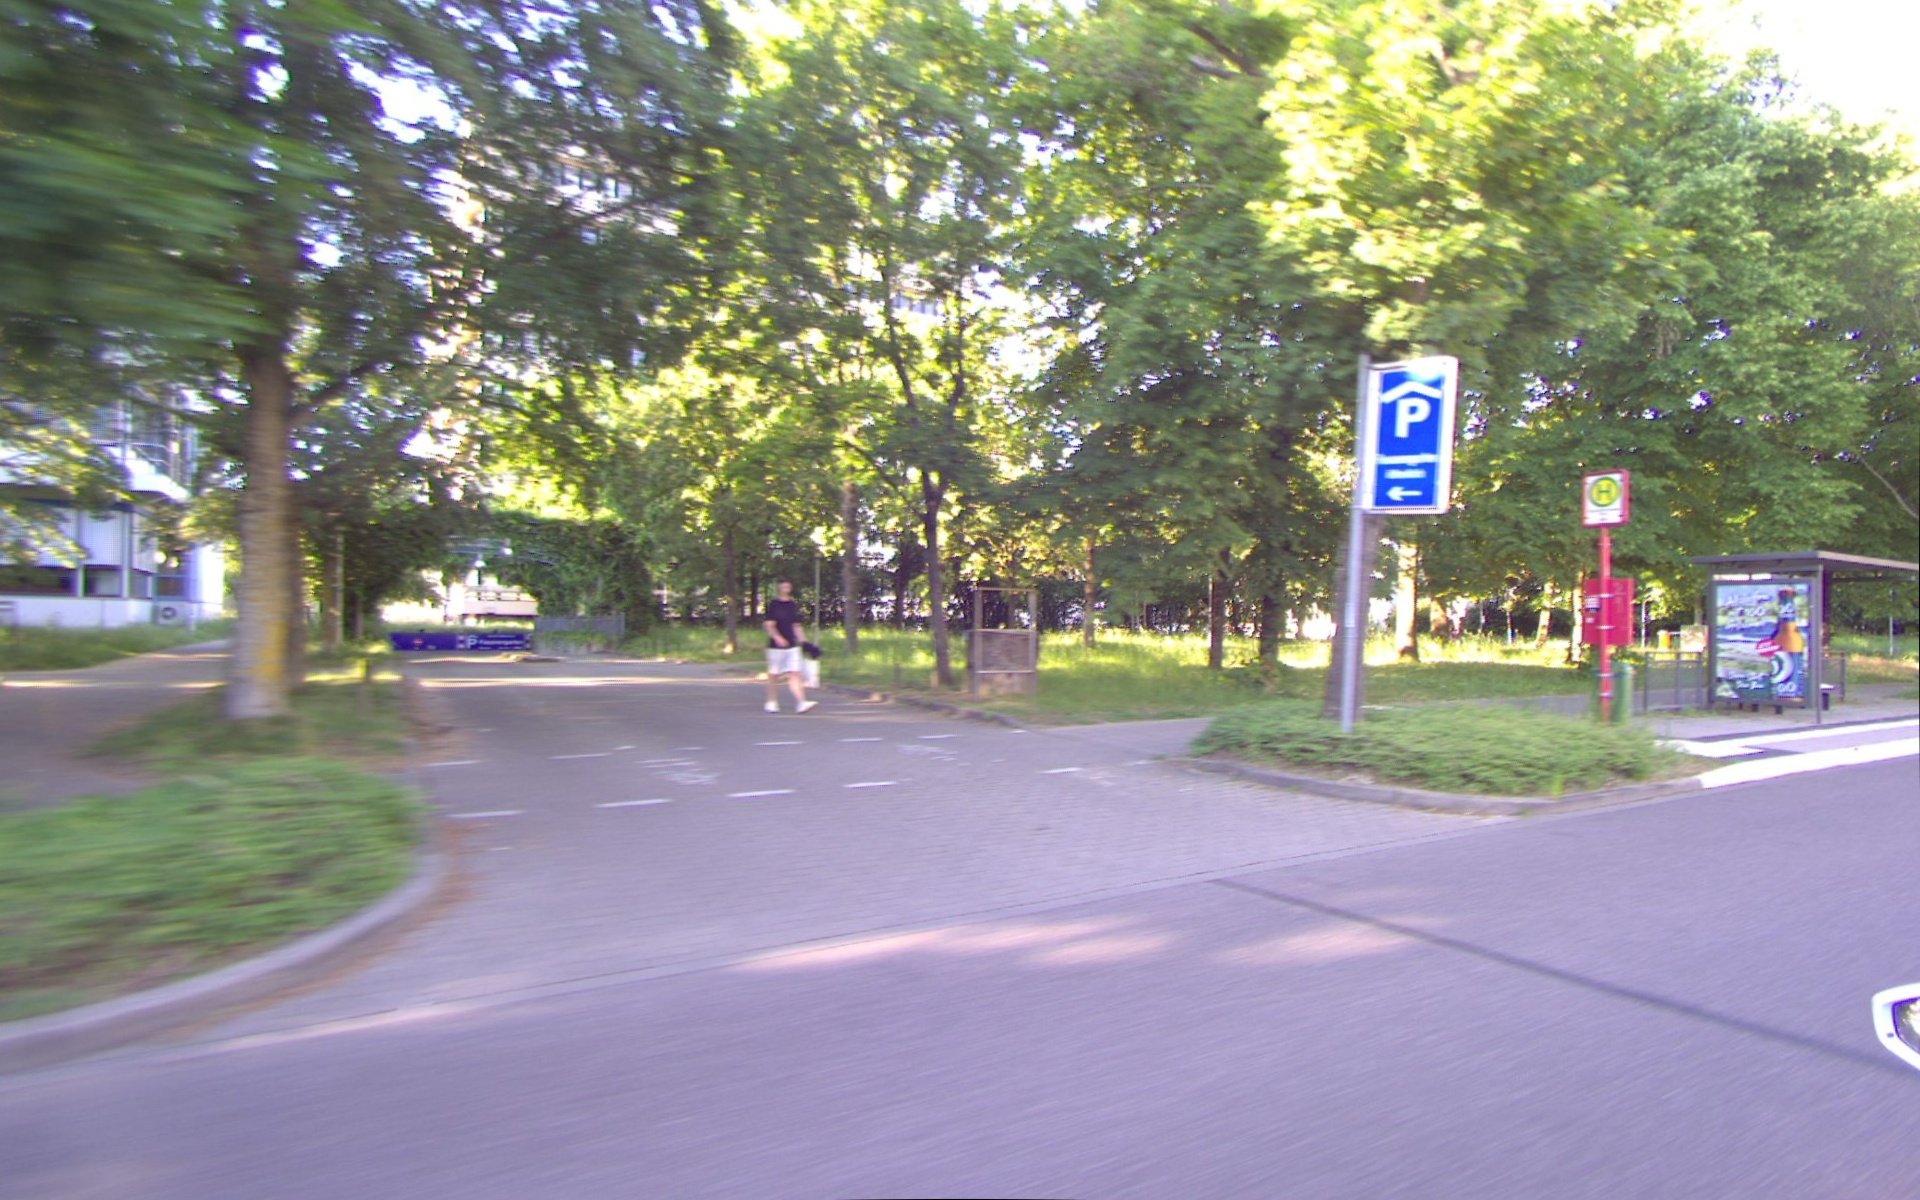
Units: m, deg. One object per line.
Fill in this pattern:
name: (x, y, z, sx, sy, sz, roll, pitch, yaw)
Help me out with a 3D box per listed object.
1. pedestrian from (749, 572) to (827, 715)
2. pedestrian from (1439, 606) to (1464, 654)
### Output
pedestrian: (-2.327, 0.567, 13.568, 0.713, 1.845, 0.897, 1, 0, -33)
pedestrian: (21.522, 1.310, 43.968, 0.583, 2.040, 0.752, 1, 0, -31)
